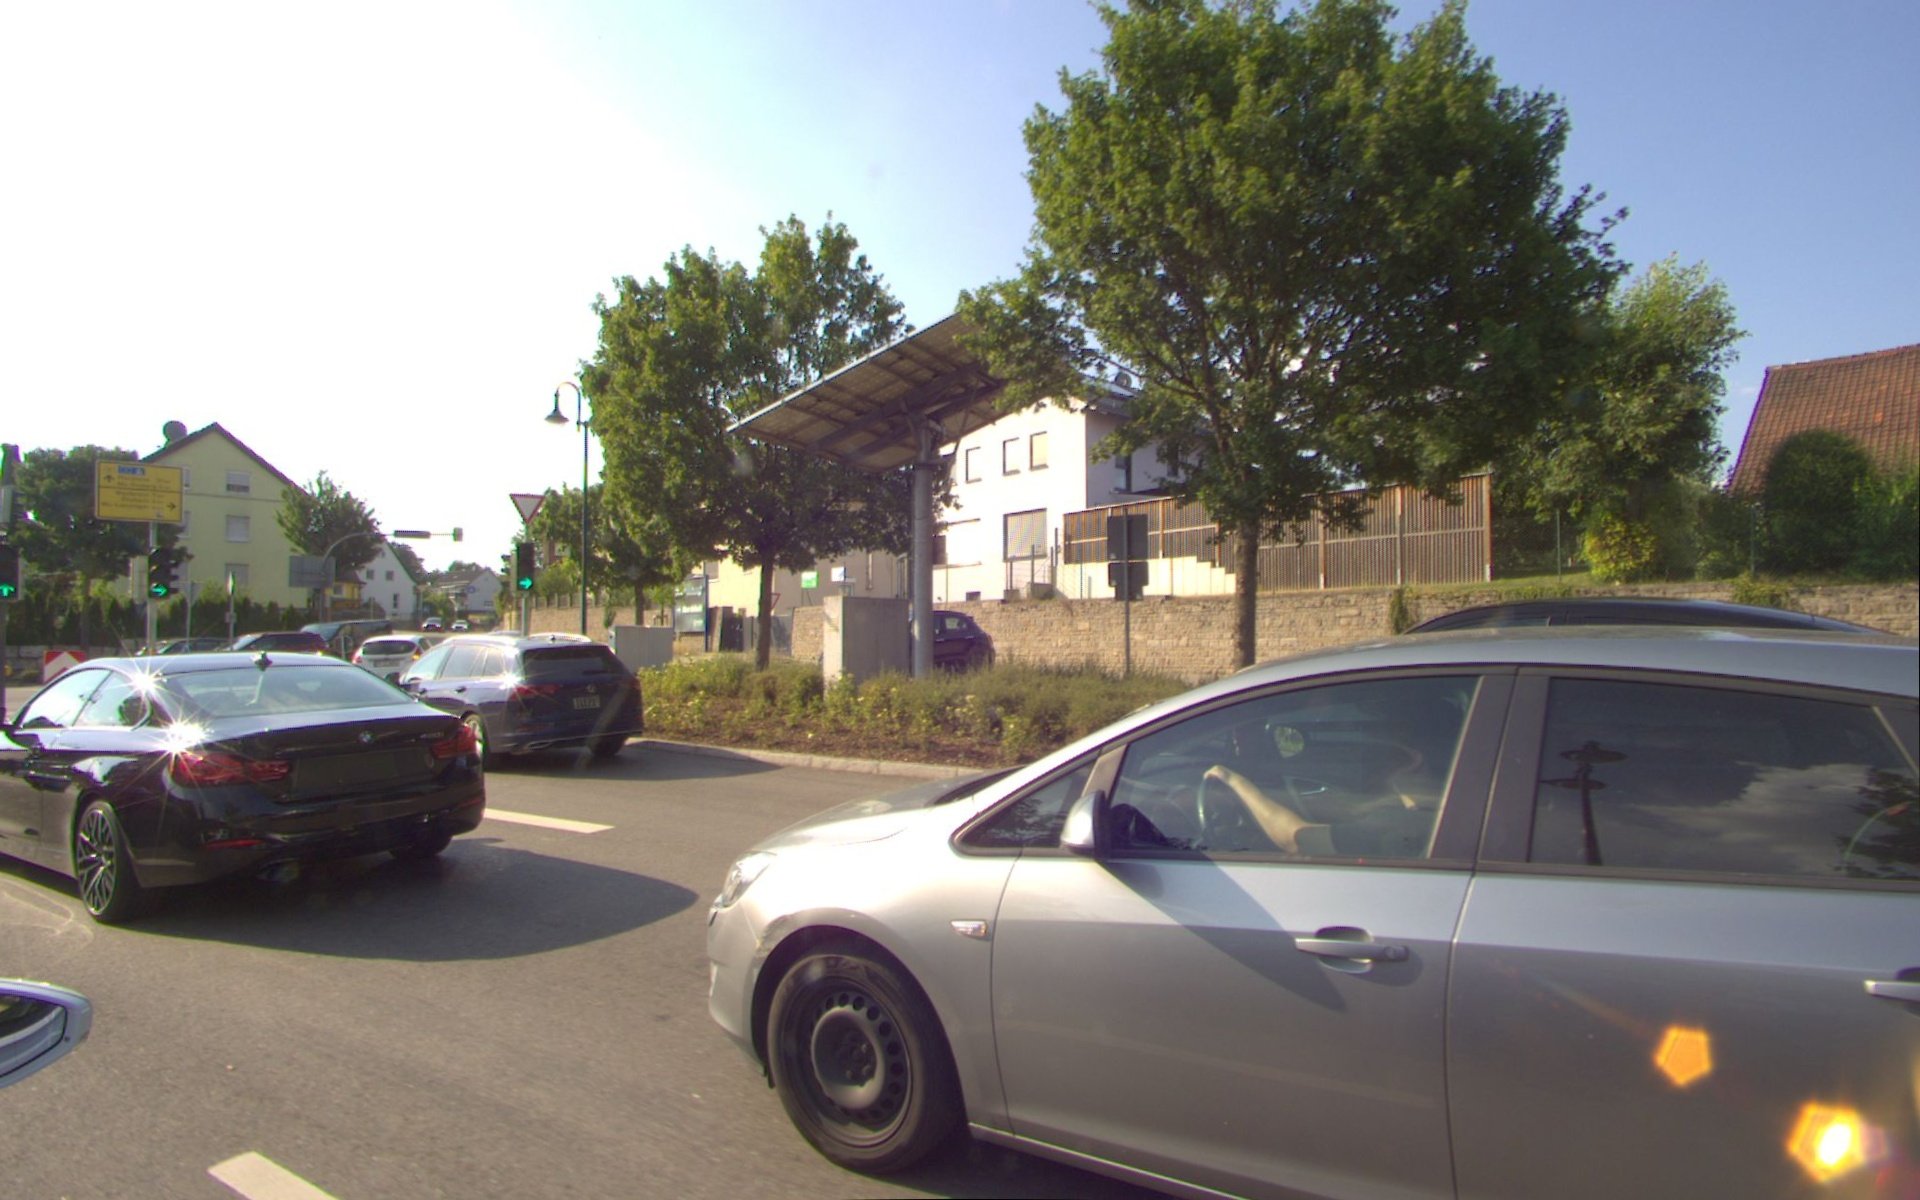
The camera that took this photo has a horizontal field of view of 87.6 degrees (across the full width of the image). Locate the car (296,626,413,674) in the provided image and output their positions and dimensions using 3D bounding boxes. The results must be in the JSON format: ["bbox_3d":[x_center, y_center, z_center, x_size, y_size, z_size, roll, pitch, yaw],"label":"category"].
[{"bbox_3d":[-26.005,2.133,43.250,1.961,1.956,5.181,0,-2,-1],"label":"car"}]

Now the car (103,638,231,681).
[{"bbox_3d":[-30.986,2.293,39.227,1.602,1.468,3.594,-2,-1,28],"label":"car"}]

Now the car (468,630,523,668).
[{"bbox_3d":[-17.666,1.845,38.240,1.788,1.361,3.988,0,-2,-23],"label":"car"}]

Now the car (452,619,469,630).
[{"bbox_3d":[-65.601,3.277,131.601,1.788,1.361,3.988,0,-2,-23],"label":"car"}]

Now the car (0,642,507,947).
[{"bbox_3d":[-4.988,0.982,6.512,4.201,1.386,1.697,-1,-1,32],"label":"car"}]

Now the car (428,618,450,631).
[{"bbox_3d":[-55.760,2.623,107.135,1.788,1.361,3.988,0,-2,-23],"label":"car"}]

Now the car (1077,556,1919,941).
[{"bbox_3d":[3.070,0.675,5.707,4.428,1.586,1.838,-1,-2,30],"label":"car"}]

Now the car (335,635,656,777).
[{"bbox_3d":[-5.665,1.144,12.017,4.221,1.428,1.625,-2,-2,35],"label":"car"}]

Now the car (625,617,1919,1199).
[{"bbox_3d":[1.135,0.793,2.735,4.083,1.441,1.645,-1,-1,31],"label":"car"}]

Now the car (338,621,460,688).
[{"bbox_3d":[-13.823,1.319,24.918,1.835,1.512,3.994,0,-2,-17],"label":"car"}]

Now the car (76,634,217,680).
[{"bbox_3d":[-28.587,1.977,35.288,3.757,1.561,1.586,2,-3,-40],"label":"car"}]

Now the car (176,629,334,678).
[{"bbox_3d":[-24.837,1.850,35.444,1.833,1.646,4.239,-1,-2,27],"label":"car"}]

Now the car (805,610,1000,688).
[{"bbox_3d":[-1.137,1.006,21.085,1.662,1.475,4.042,-2,-2,45],"label":"car"}]
